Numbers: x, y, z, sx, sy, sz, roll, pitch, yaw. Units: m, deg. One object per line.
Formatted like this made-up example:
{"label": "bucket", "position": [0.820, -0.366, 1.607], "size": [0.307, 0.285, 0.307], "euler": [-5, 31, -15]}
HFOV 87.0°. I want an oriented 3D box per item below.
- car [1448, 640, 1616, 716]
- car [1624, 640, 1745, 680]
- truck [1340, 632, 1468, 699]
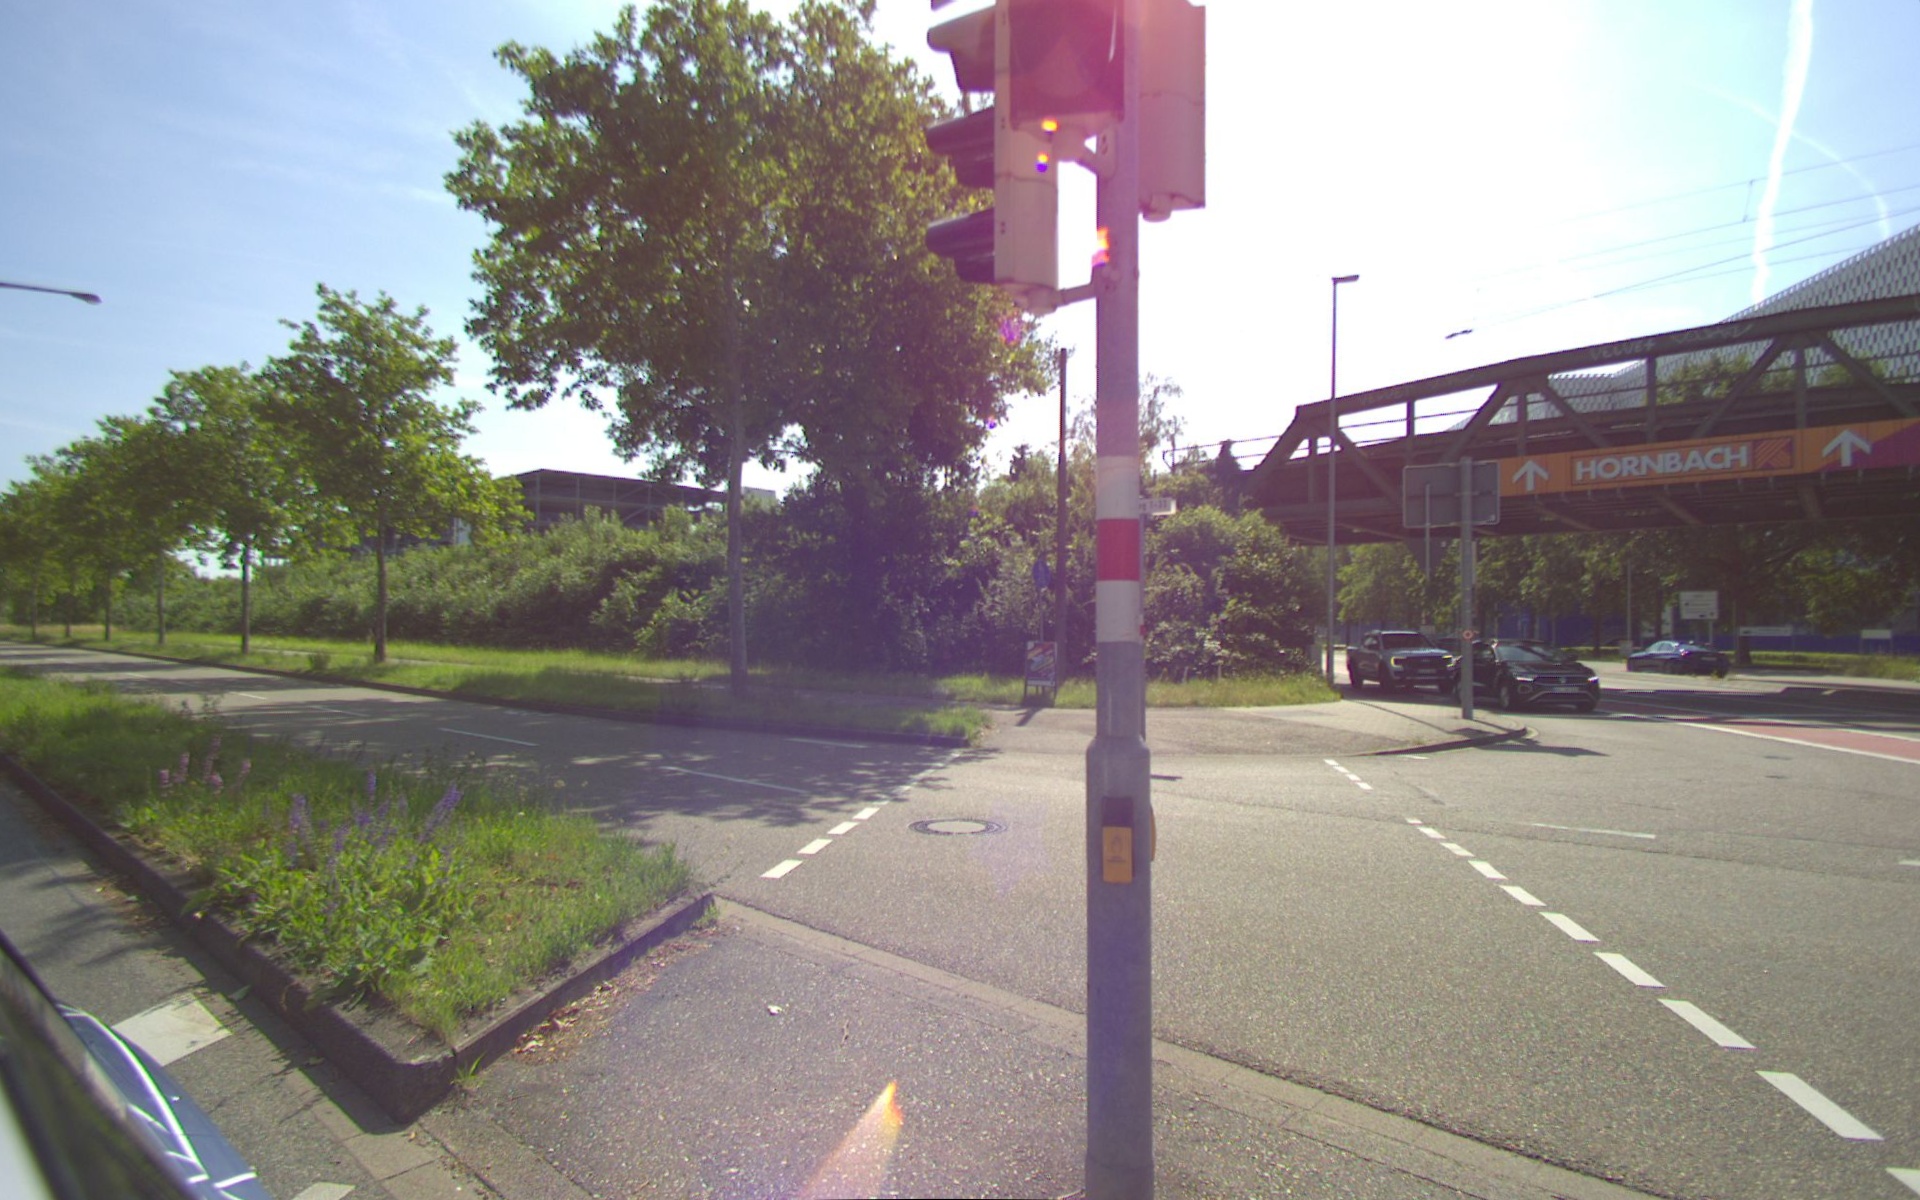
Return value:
{"label": "car", "position": [12.697, 1.690, 22.786], "size": [1.801, 1.492, 3.935], "euler": [-2, -2, 6]}
{"label": "car", "position": [27.410, 2.228, 38.461], "size": [1.770, 1.408, 4.317], "euler": [0, -2, 5]}
{"label": "truck", "position": [13.435, 1.933, 31.022], "size": [2.008, 1.833, 5.315], "euler": [-2, -2, 6]}
